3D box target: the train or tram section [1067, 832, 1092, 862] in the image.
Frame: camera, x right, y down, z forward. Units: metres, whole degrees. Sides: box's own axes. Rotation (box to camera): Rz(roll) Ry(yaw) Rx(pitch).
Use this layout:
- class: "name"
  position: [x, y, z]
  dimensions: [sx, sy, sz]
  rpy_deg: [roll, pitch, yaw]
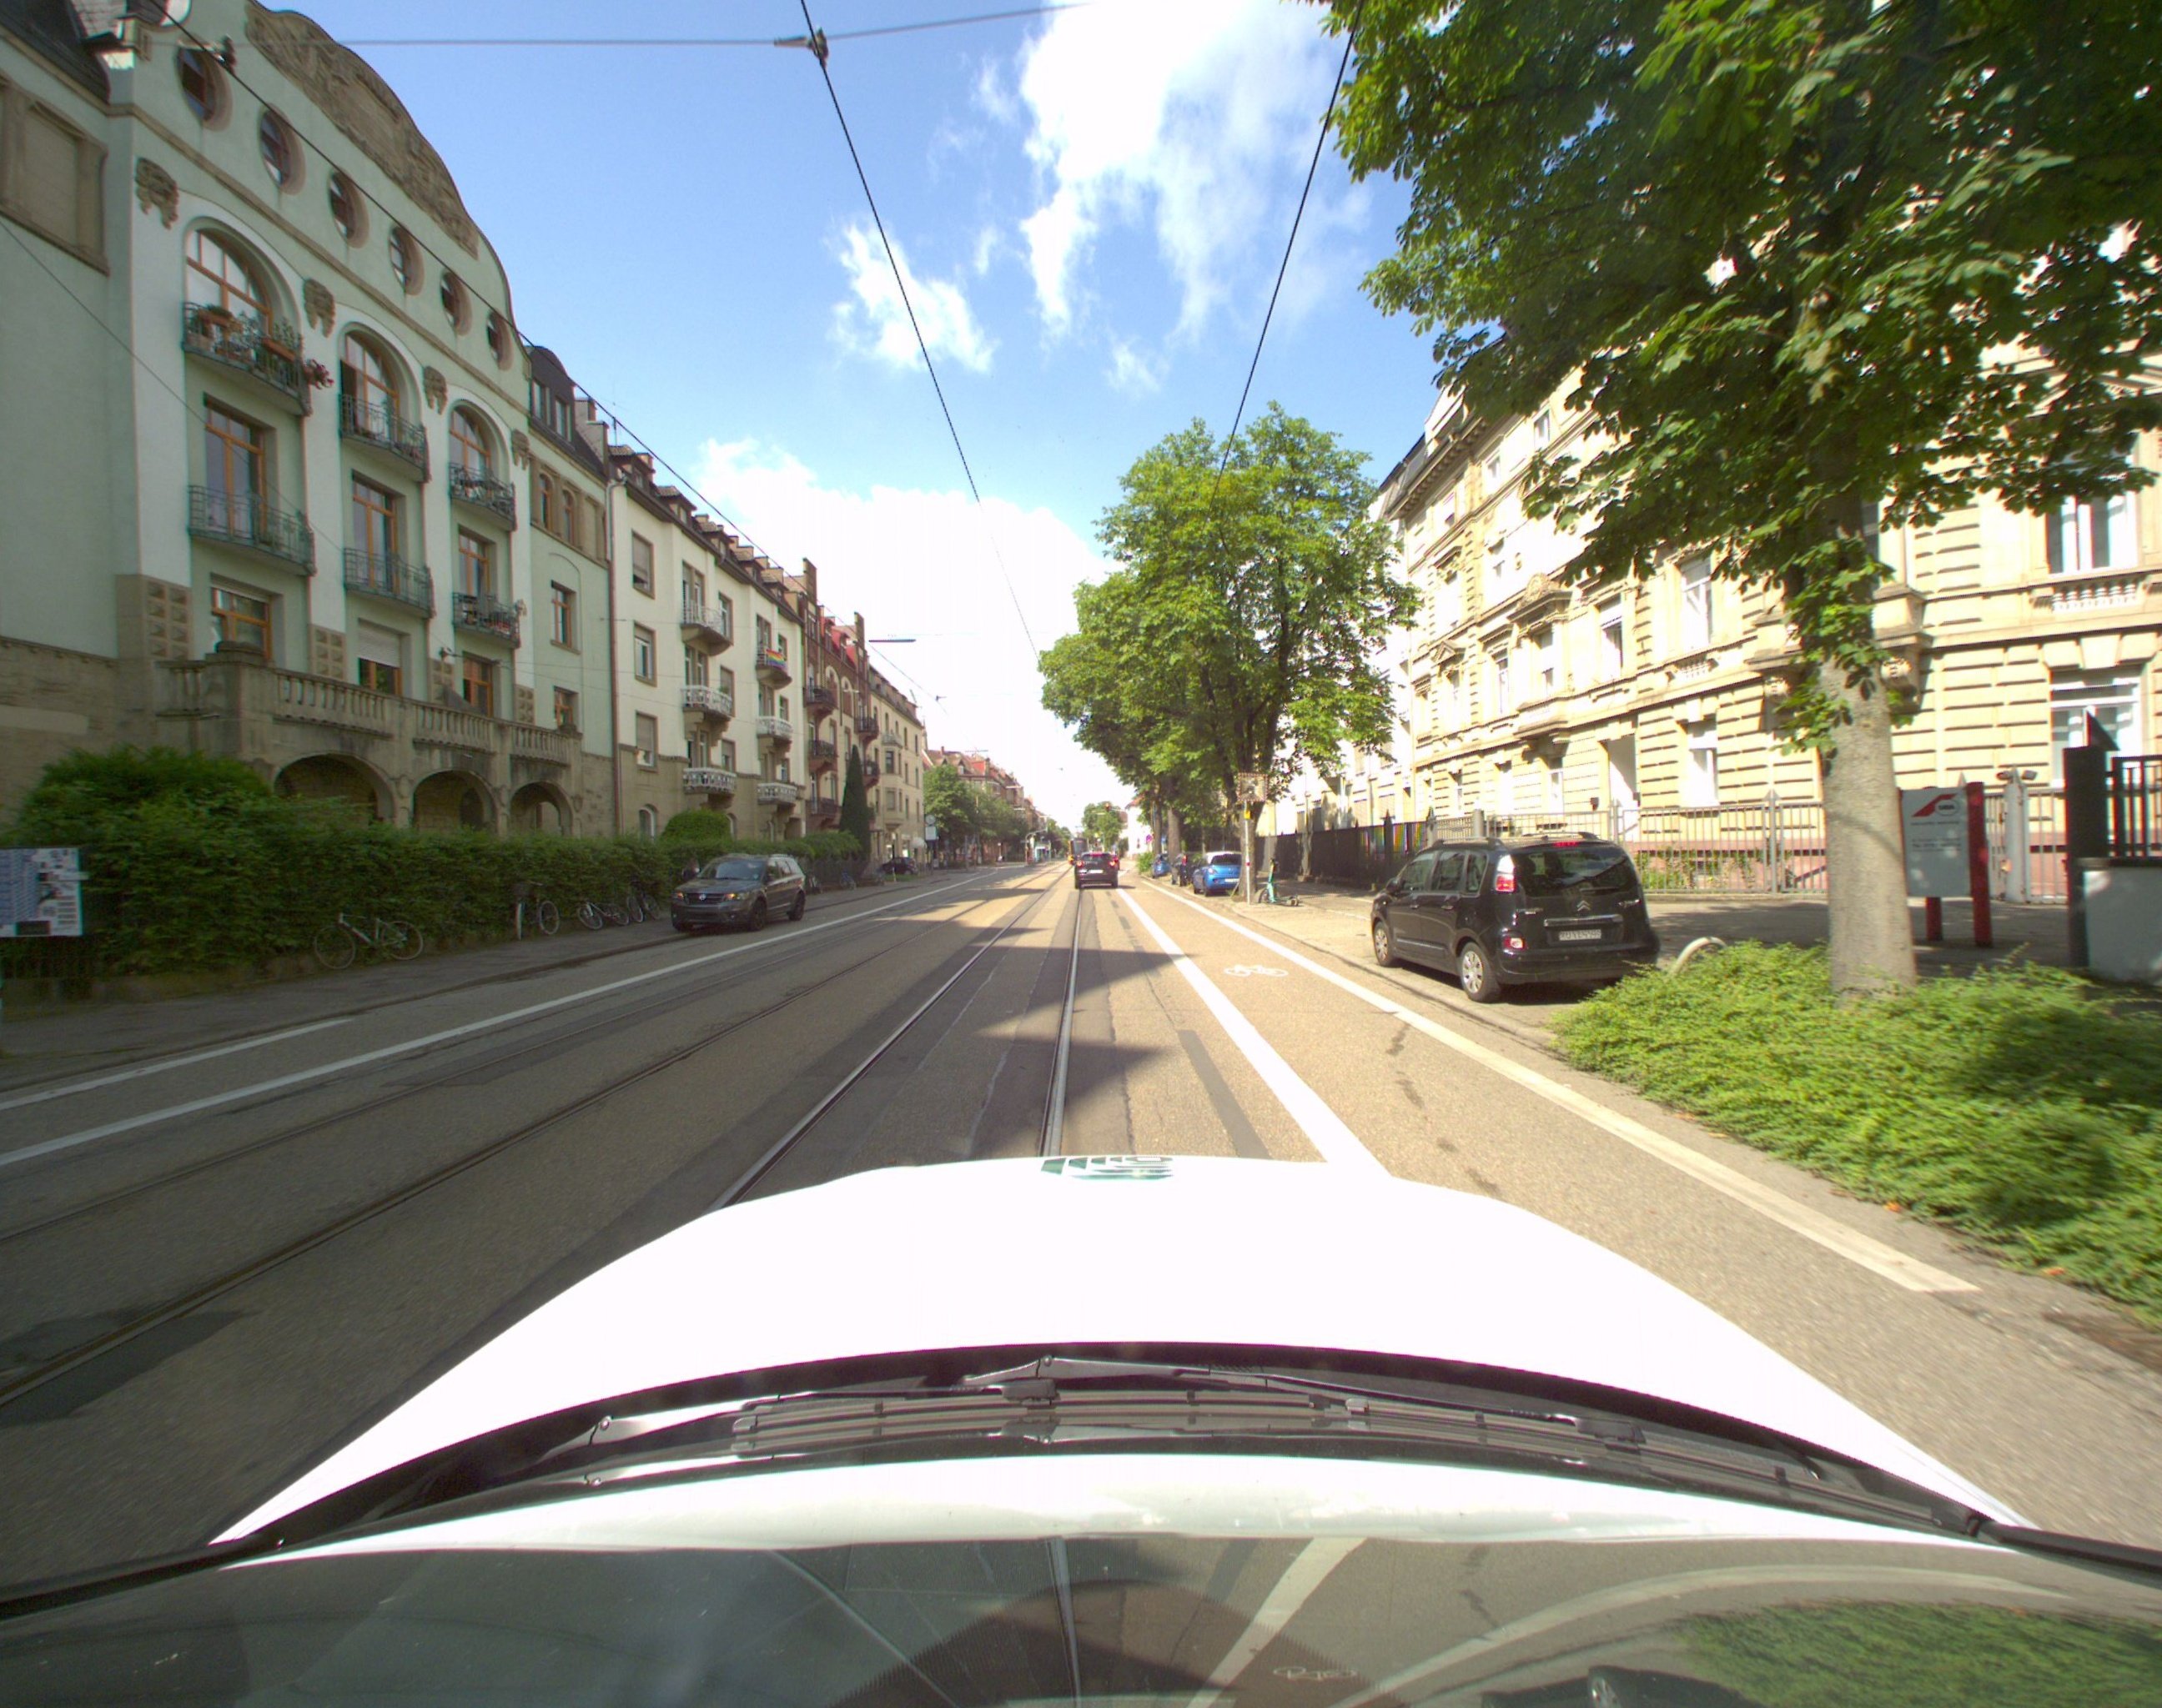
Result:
- class: "train or tram section"
  position: [-0.242, -0.828, 103.559]
  dimensions: [2.646, 3.527, 8.487]
  rpy_deg: [-2, 0, -3]

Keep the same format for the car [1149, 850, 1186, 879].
- class: "car"
  position: [4.918, 0.580, 46.545]
  dimensions: [1.619, 1.496, 3.847]
  rpy_deg: [-4, 0, 0]

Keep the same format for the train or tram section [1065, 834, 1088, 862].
- class: "train or tram section"
  position: [-0.632, -0.757, 112.073]
  dimensions: [2.646, 3.527, 8.487]
  rpy_deg: [-2, 0, -3]

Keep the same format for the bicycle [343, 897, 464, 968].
- class: "bicycle"
  position: [-10.817, 1.226, 13.086]
  dimensions: [0.381, 0.959, 1.811]
  rpy_deg: [0, 0, 2]

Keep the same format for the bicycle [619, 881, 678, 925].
- class: "bicycle"
  position: [-10.739, 1.193, 20.297]
  dimensions: [0.381, 0.959, 1.922]
  rpy_deg: [0, 0, 2]

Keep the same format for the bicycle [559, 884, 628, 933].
- class: "bicycle"
  position: [-10.837, 1.190, 18.158]
  dimensions: [0.381, 0.959, 1.811]
  rpy_deg: [0, 0, 2]

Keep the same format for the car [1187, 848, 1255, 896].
- class: "car"
  position: [4.806, 0.586, 28.406]
  dimensions: [1.635, 1.496, 3.625]
  rpy_deg: [-3, 0, -1]

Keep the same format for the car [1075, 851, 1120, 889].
- class: "car"
  position: [0.665, 0.628, 34.966]
  dimensions: [1.784, 1.512, 4.349]
  rpy_deg: [-1, 1, -1]

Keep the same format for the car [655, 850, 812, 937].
- class: "car"
  position: [-8.113, 0.821, 19.582]
  dimensions: [1.780, 1.762, 4.879]
  rpy_deg: [-2, 0, -2]

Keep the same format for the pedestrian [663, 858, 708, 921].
- class: "pedestrian"
  position: [-10.024, 0.886, 20.677]
  dimensions: [0.677, 1.568, 0.882]
  rpy_deg: [0, 0, 2]

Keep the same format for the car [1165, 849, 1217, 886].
- class: "car"
  position: [4.849, 0.577, 36.330]
  dimensions: [1.635, 1.496, 3.755]
  rpy_deg: [-3, 0, -2]

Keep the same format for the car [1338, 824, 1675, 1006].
- class: "car"
  position: [4.629, 0.577, 9.689]
  dimensions: [1.692, 1.591, 4.201]
  rpy_deg: [-3, 0, -1]

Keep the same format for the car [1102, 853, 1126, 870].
- class: "car"
  position: [2.934, 0.645, 73.168]
  dimensions: [1.780, 1.492, 4.879]
  rpy_deg: [-2, 0, -2]

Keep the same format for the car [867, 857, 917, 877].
- class: "car"
  position: [-13.998, 0.956, 60.493]
  dimensions: [3.222, 1.513, 1.680]
  rpy_deg: [0, 0, 3]

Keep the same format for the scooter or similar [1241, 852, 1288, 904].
- class: "scooter or similar"
  position: [4.840, 0.629, 21.488]
  dimensions: [0.443, 1.299, 1.171]
  rpy_deg: [-5, 2, -31]

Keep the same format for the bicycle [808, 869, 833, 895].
- class: "bicycle"
  position: [-10.623, 1.140, 33.279]
  dimensions: [0.381, 0.975, 1.802]
  rpy_deg: [0, 0, 2]

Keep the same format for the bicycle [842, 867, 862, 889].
- class: "bicycle"
  position: [-10.586, 1.106, 37.679]
  dimensions: [0.424, 0.959, 1.706]
  rpy_deg: [0, 0, 2]

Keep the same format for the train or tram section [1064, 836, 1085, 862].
- class: "train or tram section"
  position: [-1.023, -0.674, 120.574]
  dimensions: [2.646, 3.527, 8.487]
  rpy_deg: [-2, 0, -3]

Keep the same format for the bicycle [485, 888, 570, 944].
- class: "bicycle"
  position: [-10.873, 1.190, 16.066]
  dimensions: [0.381, 0.959, 1.811]
  rpy_deg: [0, 0, 2]

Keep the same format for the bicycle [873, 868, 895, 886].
- class: "bicycle"
  position: [-10.466, 1.221, 43.242]
  dimensions: [0.508, 0.959, 1.818]
  rpy_deg: [1, -2, 7]
